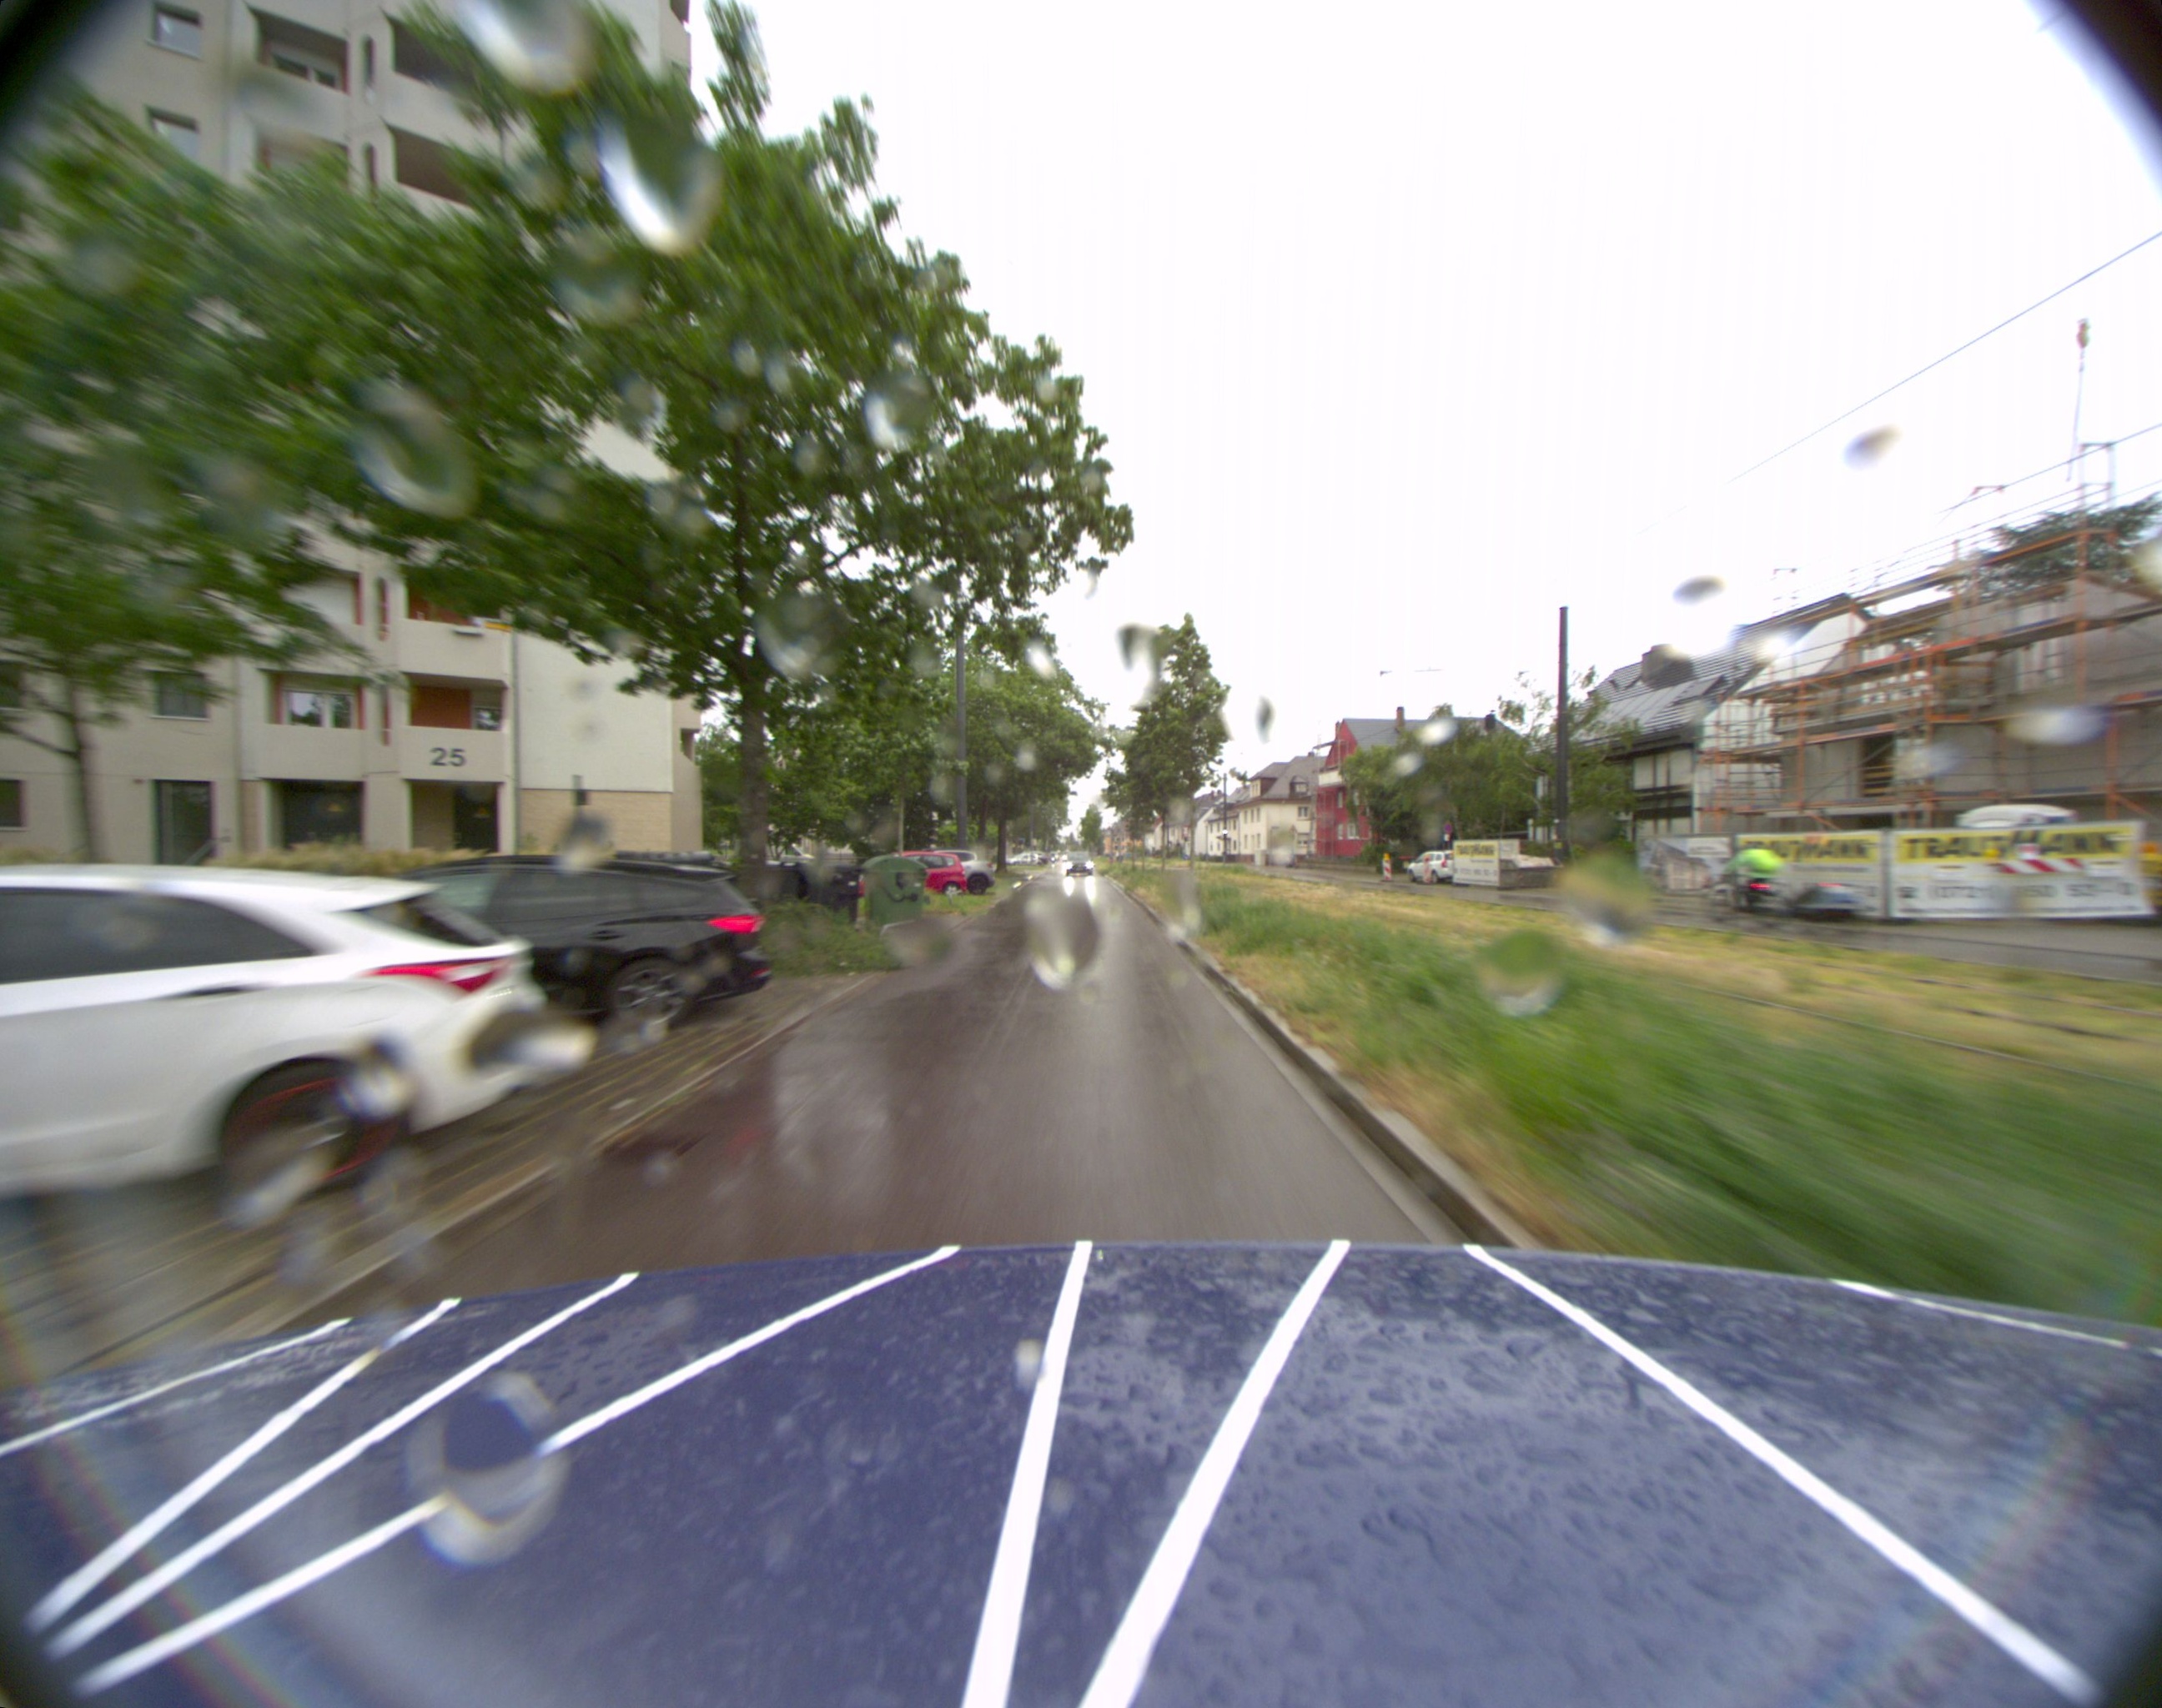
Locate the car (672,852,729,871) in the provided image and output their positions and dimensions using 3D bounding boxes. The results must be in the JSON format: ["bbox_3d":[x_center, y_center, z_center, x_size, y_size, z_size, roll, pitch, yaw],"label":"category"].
[{"bbox_3d":[-27.744,0.518,55.467,3.422,1.275,1.598,-2,2,-17],"label":"car"}]

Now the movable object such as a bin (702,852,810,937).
[{"bbox_3d":[-5.273,0.609,12.323,1.244,1.244,1.183,-3,2,-43],"label":"movable object such as a bin"}]

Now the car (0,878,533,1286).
[{"bbox_3d":[-5.151,0.864,3.217,4.470,1.456,1.815,2,0,-33],"label":"car"}]

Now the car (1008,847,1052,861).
[{"bbox_3d":[-5.738,-0.001,85.332,4.485,1.320,1.995,-2,2,-27],"label":"car"}]

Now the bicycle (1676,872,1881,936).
[{"bbox_3d":[13.823,0.934,15.305,0.937,1.037,3.433,0,1,-1],"label":"bicycle"}]

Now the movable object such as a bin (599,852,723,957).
[{"bbox_3d":[-6.321,0.694,11.440,1.369,1.414,1.183,-3,2,-41],"label":"movable object such as a bin"}]

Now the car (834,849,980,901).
[{"bbox_3d":[-5.373,0.651,23.634,4.055,1.480,1.720,2,0,-35],"label":"car"}]

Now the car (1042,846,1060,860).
[{"bbox_3d":[-3.956,-0.203,101.372,1.998,1.696,3.999,-1,2,2],"label":"car"}]

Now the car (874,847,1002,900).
[{"bbox_3d":[-5.008,0.618,26.793,4.054,1.676,1.720,-2,2,-35],"label":"car"}]

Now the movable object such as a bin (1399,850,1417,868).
[{"bbox_3d":[21.575,0.324,50.093,0.812,1.141,0.821,-1,2,1],"label":"movable object such as a bin"}]

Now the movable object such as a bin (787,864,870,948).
[{"bbox_3d":[-4.349,0.850,13.066,0.999,1.305,1.183,-3,2,-36],"label":"movable object such as a bin"}]

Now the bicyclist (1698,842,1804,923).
[{"bbox_3d":[13.830,0.553,15.742,0.956,1.575,1.400,-1,2,0],"label":"bicyclist"}]

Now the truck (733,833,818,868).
[{"bbox_3d":[-22.897,-0.305,57.164,5.680,2.424,2.120,-2,2,-17],"label":"truck"}]

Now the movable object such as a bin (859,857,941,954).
[{"bbox_3d":[-3.215,0.852,13.397,1.165,1.553,1.372,-2,2,-22],"label":"movable object such as a bin"}]

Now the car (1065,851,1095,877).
[{"bbox_3d":[-0.052,0.654,52.613,1.998,1.611,3.999,-1,2,1],"label":"car"}]

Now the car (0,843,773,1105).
[{"bbox_3d":[-5.113,0.786,6.340,4.469,1.533,1.680,2,1,-30],"label":"car"}]

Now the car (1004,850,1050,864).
[{"bbox_3d":[-5.872,0.258,82.097,4.485,1.320,1.995,-2,2,-29],"label":"car"}]

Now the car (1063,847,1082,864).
[{"bbox_3d":[-0.970,0.180,88.603,1.998,1.762,3.999,-1,2,2],"label":"car"}]

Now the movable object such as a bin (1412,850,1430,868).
[{"bbox_3d":[22.435,0.353,50.093,0.812,1.141,0.821,-1,2,1],"label":"movable object such as a bin"}]

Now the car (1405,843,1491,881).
[{"bbox_3d":[17.441,0.330,36.384,1.999,1.618,4.249,-1,2,-1],"label":"car"}]
